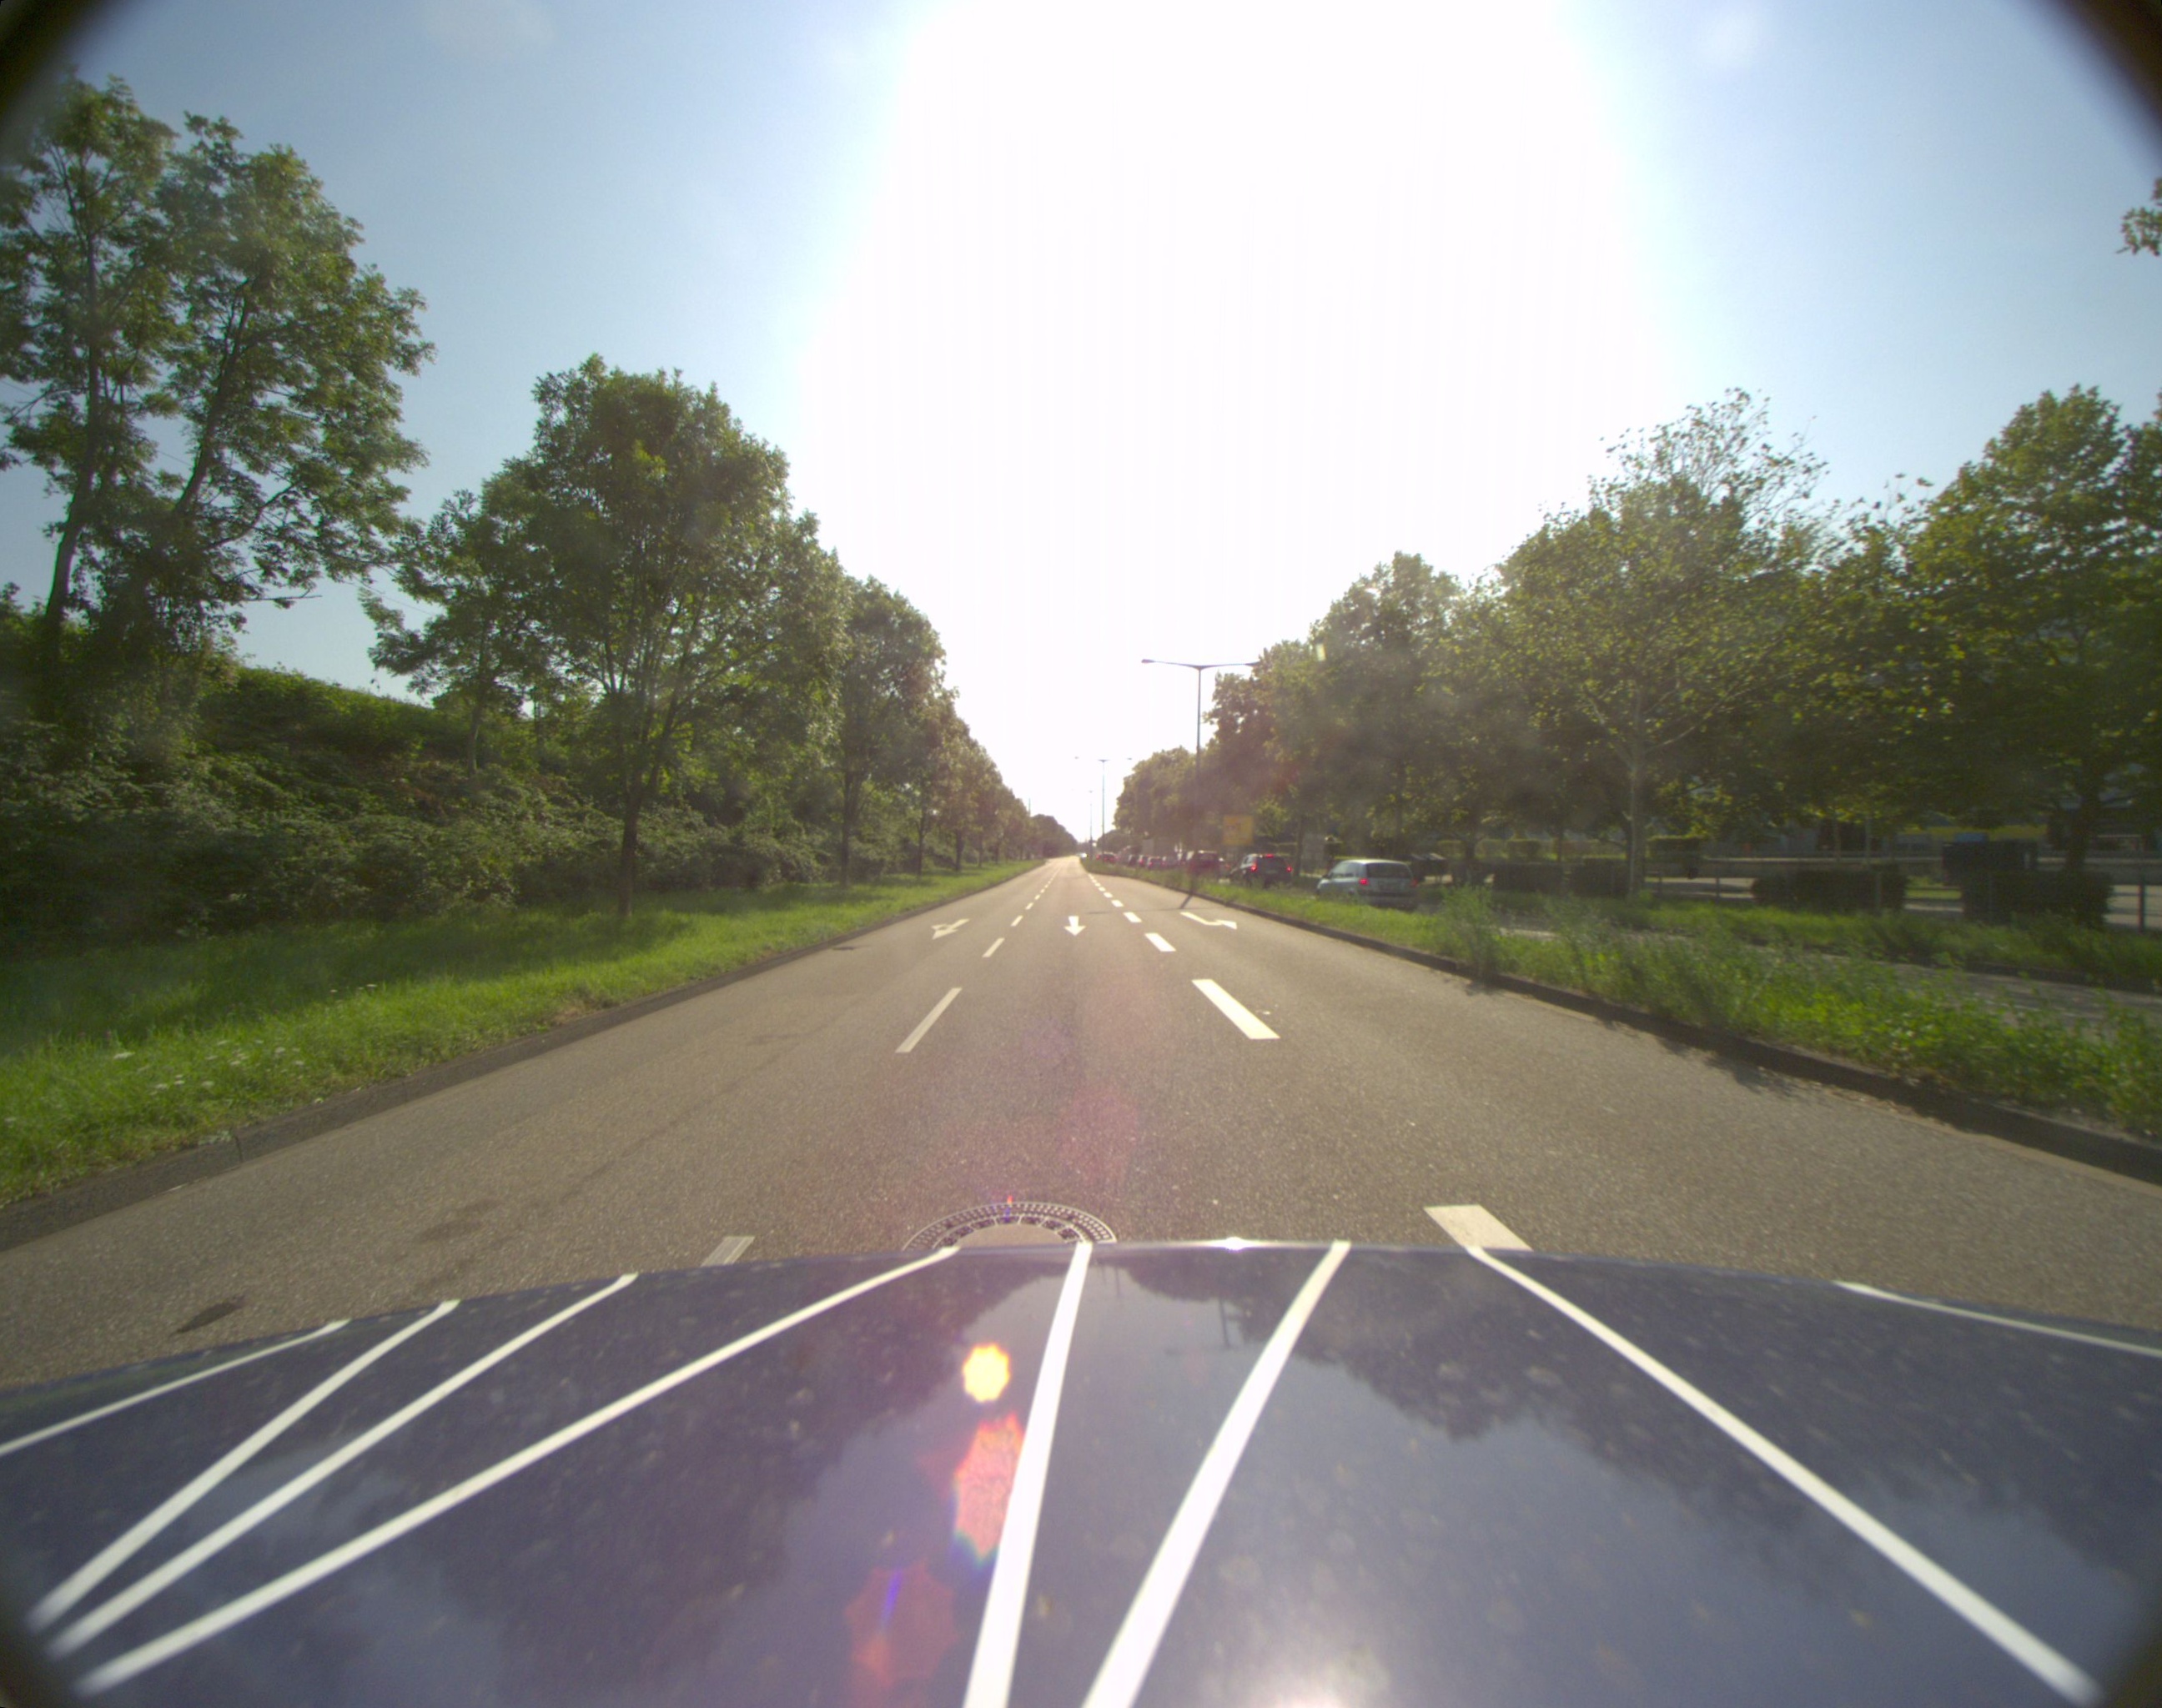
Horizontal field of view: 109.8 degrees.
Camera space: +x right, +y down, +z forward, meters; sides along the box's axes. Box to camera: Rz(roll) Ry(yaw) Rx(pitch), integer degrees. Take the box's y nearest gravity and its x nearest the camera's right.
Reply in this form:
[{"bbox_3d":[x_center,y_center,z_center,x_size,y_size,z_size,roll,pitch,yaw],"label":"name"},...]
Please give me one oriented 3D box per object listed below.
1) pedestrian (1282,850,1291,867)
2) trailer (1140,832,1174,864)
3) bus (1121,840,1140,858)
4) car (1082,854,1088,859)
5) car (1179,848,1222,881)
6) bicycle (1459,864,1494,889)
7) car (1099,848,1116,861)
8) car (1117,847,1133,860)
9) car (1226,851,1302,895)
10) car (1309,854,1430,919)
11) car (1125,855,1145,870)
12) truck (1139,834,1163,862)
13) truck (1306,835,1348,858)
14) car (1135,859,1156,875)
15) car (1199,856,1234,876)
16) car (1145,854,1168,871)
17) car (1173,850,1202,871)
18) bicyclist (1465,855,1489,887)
[{"bbox_3d":[20.463,0.443,75.694,0.618,1.643,0.933,-1,1,-1],"label":"pedestrian"},{"bbox_3d":[9.685,-0.791,98.308,2.640,3.799,13.809,1,0,-1],"label":"trailer"},{"bbox_3d":[8.850,-0.924,136.550,2.597,3.061,12.310,-1,0,0],"label":"bus"},{"bbox_3d":[1.172,0.654,214.041,1.544,1.433,3.396,0,-1,3],"label":"car"},{"bbox_3d":[7.581,0.623,48.635,1.937,2.016,4.566,0,0,-2],"label":"car"},{"bbox_3d":[18.259,1.040,35.108,0.650,1.101,1.800,0,0,-1],"label":"bicycle"},{"bbox_3d":[3.658,0.070,107.169,1.999,1.749,4.476,0,0,-3],"label":"car"},{"bbox_3d":[6.466,-0.060,113.257,1.999,1.942,5.035,0,0,-1],"label":"car"},{"bbox_3d":[7.723,0.751,32.504,1.999,1.696,4.503,-1,0,-2],"label":"car"},{"bbox_3d":[7.806,0.820,20.962,1.778,1.565,3.999,-1,0,0],"label":"car"},{"bbox_3d":[6.573,1.031,92.357,1.999,1.749,4.306,1,0,-2],"label":"car"},{"bbox_3d":[9.639,-0.808,105.433,2.614,3.797,5.890,1,0,-1],"label":"truck"},{"bbox_3d":[31.815,-0.945,98.316,5.916,2.844,2.233,-1,0,-38],"label":"truck"},{"bbox_3d":[6.931,1.356,81.681,1.884,1.584,4.108,0,0,-1],"label":"car"},{"bbox_3d":[10.338,0.863,58.245,1.795,1.473,3.999,0,0,-2],"label":"car"},{"bbox_3d":[7.005,0.748,71.125,1.681,1.477,3.492,-1,0,-2],"label":"car"},{"bbox_3d":[10.070,0.616,72.086,1.989,1.848,4.968,1,0,-1],"label":"car"},{"bbox_3d":[18.270,0.786,35.079,0.650,1.431,0.840,0,0,-1],"label":"bicyclist"}]
